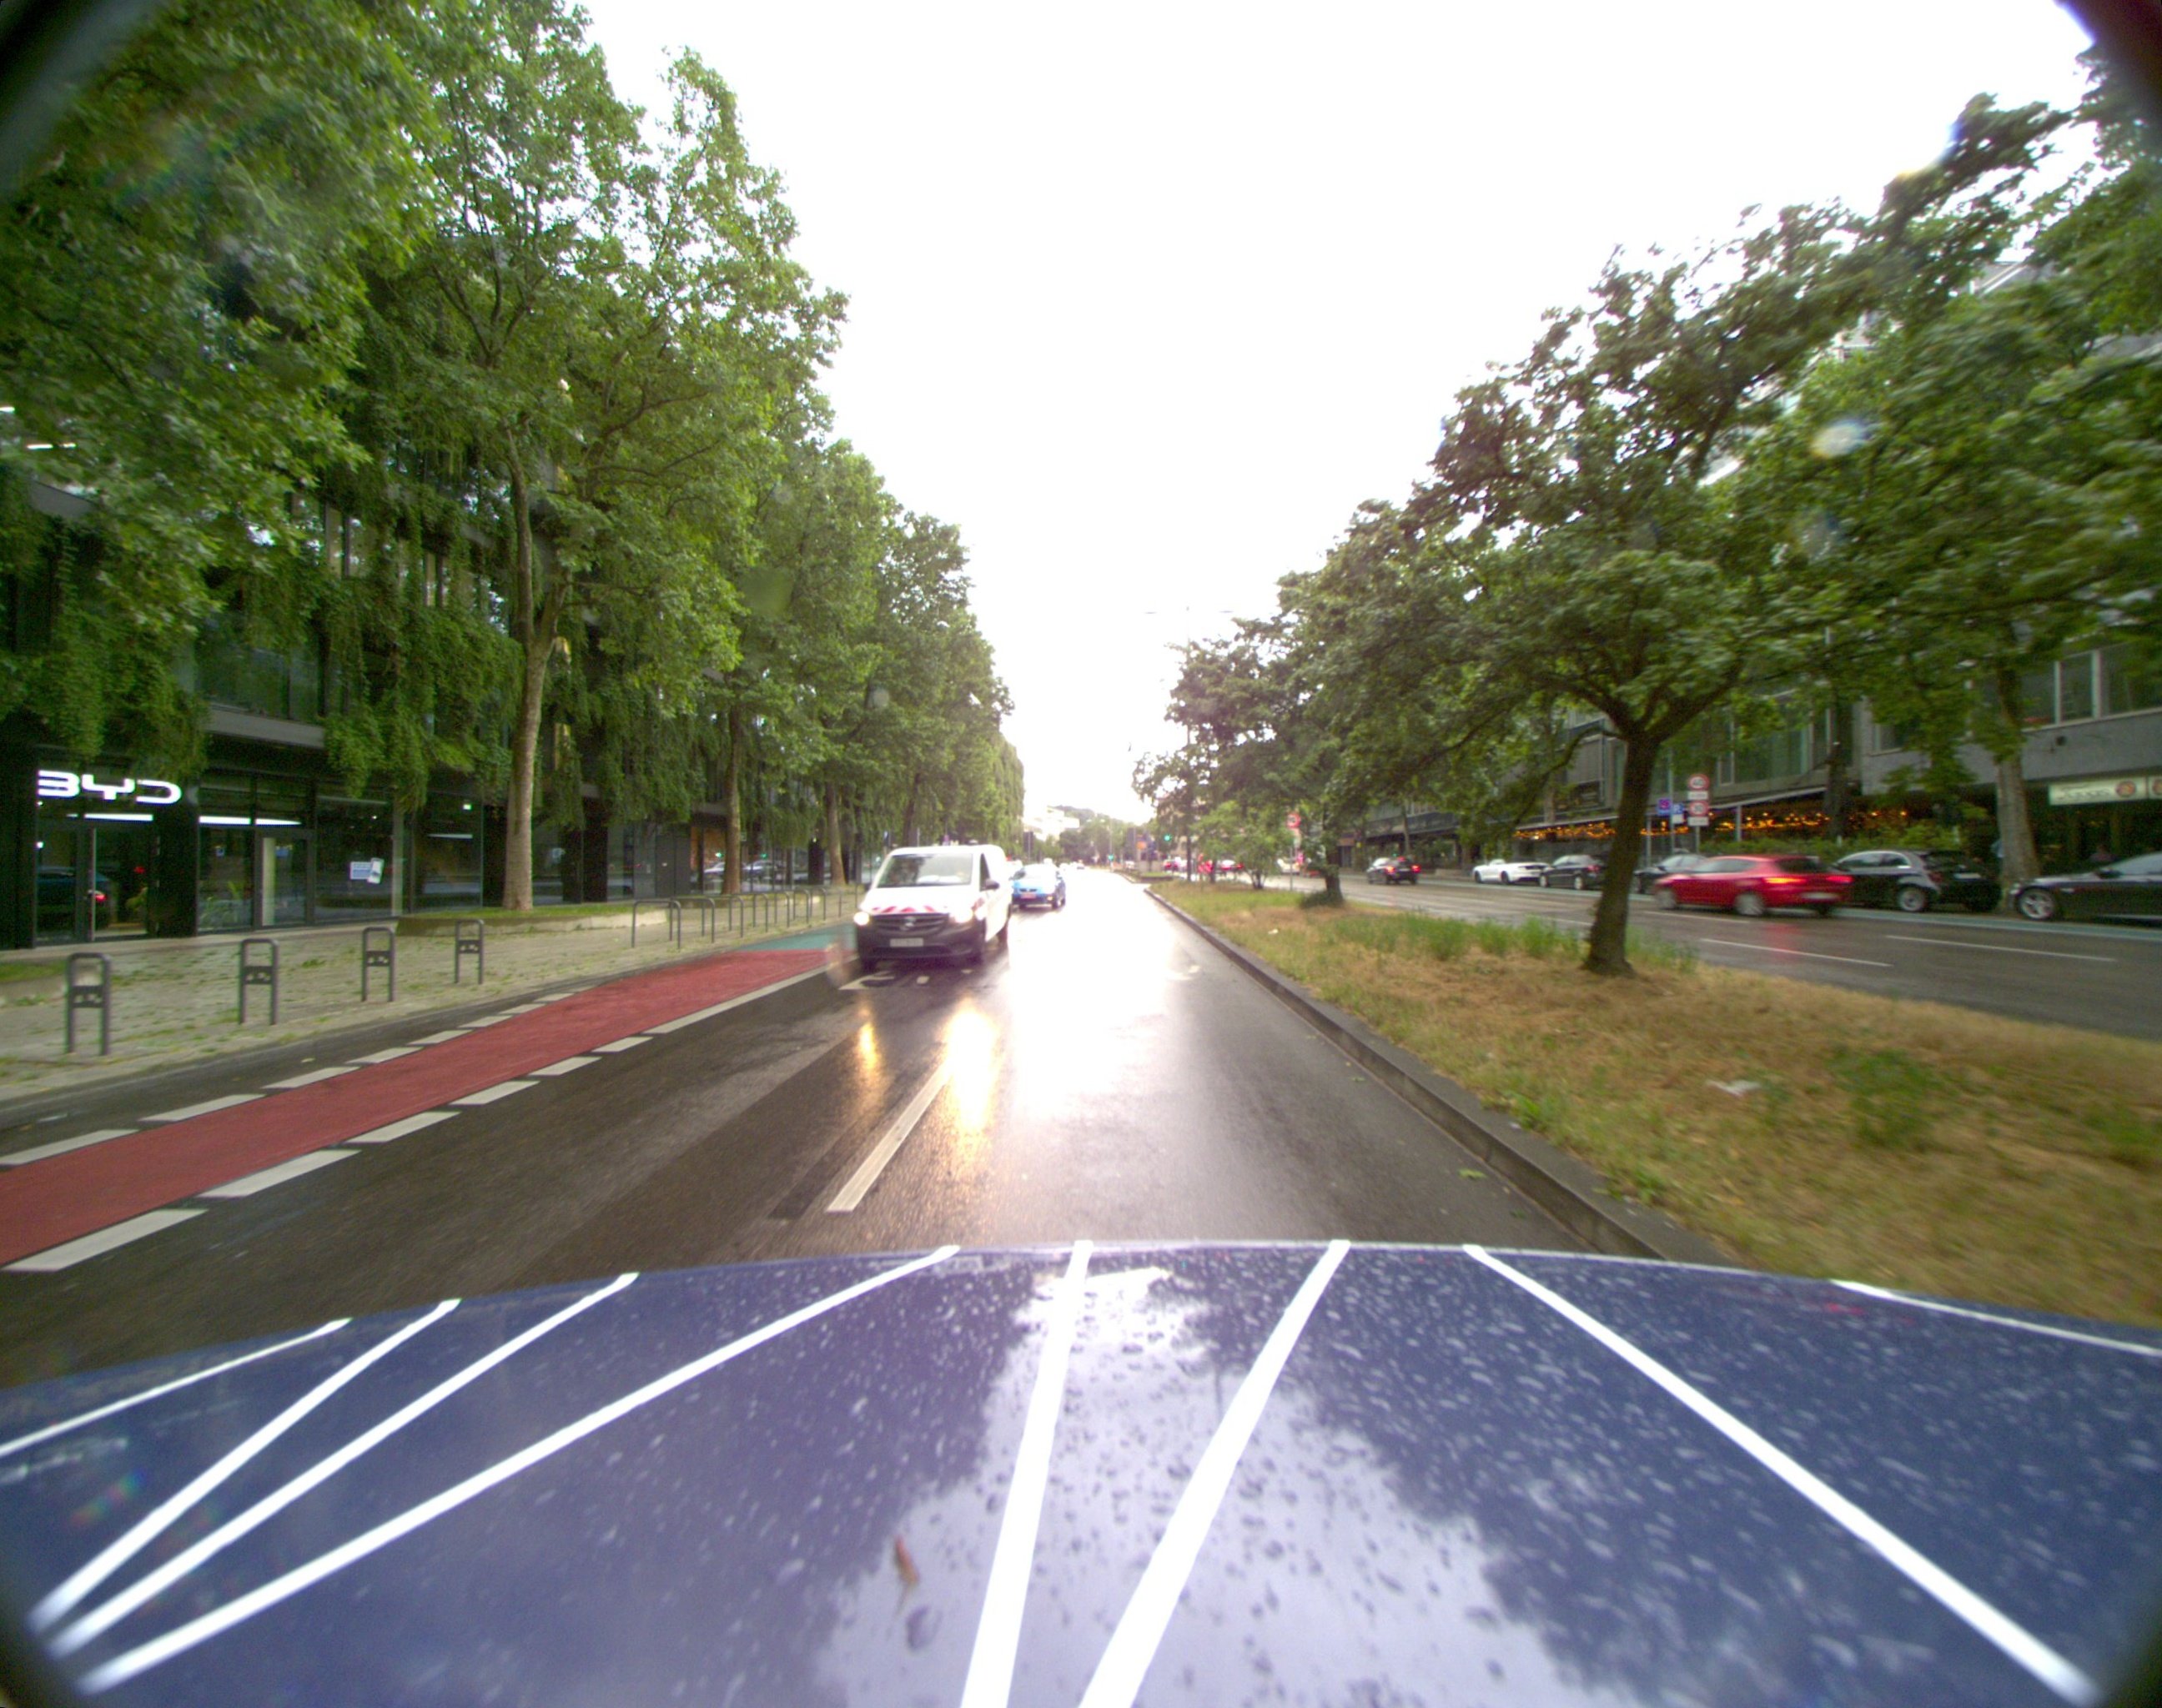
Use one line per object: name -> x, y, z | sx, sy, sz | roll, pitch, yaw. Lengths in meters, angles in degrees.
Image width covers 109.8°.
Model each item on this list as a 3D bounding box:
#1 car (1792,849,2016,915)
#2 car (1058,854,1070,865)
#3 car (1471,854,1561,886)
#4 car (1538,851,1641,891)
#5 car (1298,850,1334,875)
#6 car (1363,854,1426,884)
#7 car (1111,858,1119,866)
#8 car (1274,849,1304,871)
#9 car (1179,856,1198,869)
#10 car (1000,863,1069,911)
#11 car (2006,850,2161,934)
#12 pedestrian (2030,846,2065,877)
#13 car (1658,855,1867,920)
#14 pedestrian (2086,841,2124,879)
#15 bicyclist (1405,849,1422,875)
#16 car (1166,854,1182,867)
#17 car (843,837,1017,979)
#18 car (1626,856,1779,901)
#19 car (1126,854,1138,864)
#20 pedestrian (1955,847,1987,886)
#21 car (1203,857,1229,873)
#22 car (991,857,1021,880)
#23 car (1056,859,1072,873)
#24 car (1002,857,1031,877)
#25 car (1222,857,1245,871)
car -> 20.047, 0.619, 18.731 | 1.875, 1.414, 3.400 | -2, 1, 2
car -> -2.671, 0.821, 119.444 | 1.556, 1.534, 3.663 | -2, 1, 1
car -> 20.800, 0.708, 36.568 | 1.881, 1.318, 4.392 | -2, 1, 2
car -> 20.513, 0.638, 30.847 | 1.750, 1.445, 3.789 | -2, 1, 2
car -> 17.863, 0.615, 57.906 | 1.752, 1.716, 3.859 | -2, 1, 4
car -> 16.771, 0.777, 40.821 | 1.868, 1.408, 4.105 | -2, 1, 4
car -> 8.364, 1.918, 186.717 | 1.998, 1.838, 4.000 | -2, 1, 4
car -> 18.444, 0.513, 67.585 | 1.752, 1.872, 3.859 | -2, 1, 4
car -> 13.198, 1.021, 93.160 | 1.678, 1.381, 3.527 | -2, 1, -2
car -> -1.503, 1.086, 26.203 | 1.799, 1.428, 4.063 | -1, 1, 4
car -> 19.894, 0.675, 13.383 | 1.875, 1.377, 4.538 | -2, 1, 5
pedestrian -> 27.966, 0.213, 21.986 | 0.440, 0.845, 0.433 | -2, 1, -1
car -> 16.286, 0.733, 18.445 | 1.765, 1.318, 3.738 | -2, 1, 2
pedestrian -> 27.776, 0.151, 20.619 | 0.464, 1.010, 0.424 | -2, 1, -1
bicyclist -> 20.408, 0.464, 46.656 | 0.715, 1.561, 0.609 | -2, 1, 1
car -> 12.983, 0.871, 106.379 | 1.678, 1.621, 3.527 | -2, 1, -2
car -> -2.362, 0.747, 13.337 | 1.924, 1.934, 4.963 | -3, 1, 1
car -> 20.221, 0.754, 24.981 | 1.647, 1.232, 4.319 | -2, 1, 3
car -> 8.185, 0.843, 122.432 | 1.649, 1.450, 3.459 | -2, 1, -2
pedestrian -> 27.706, 0.385, 23.653 | 0.466, 1.179, 0.445 | -2, 1, 4
car -> 12.451, 1.018, 70.269 | 1.678, 1.381, 3.527 | -2, 1, -2
car -> -6.232, 1.185, 63.834 | 1.932, 1.726, 4.598 | -2, 1, 1
car -> -2.068, 1.522, 94.801 | 1.780, 1.546, 3.929 | -2, 1, 1
car -> -5.871, 1.172, 69.833 | 2.036, 1.552, 4.585 | -2, 1, 3
car -> 16.755, 1.067, 83.639 | 1.678, 1.381, 3.527 | -2, 1, -2
